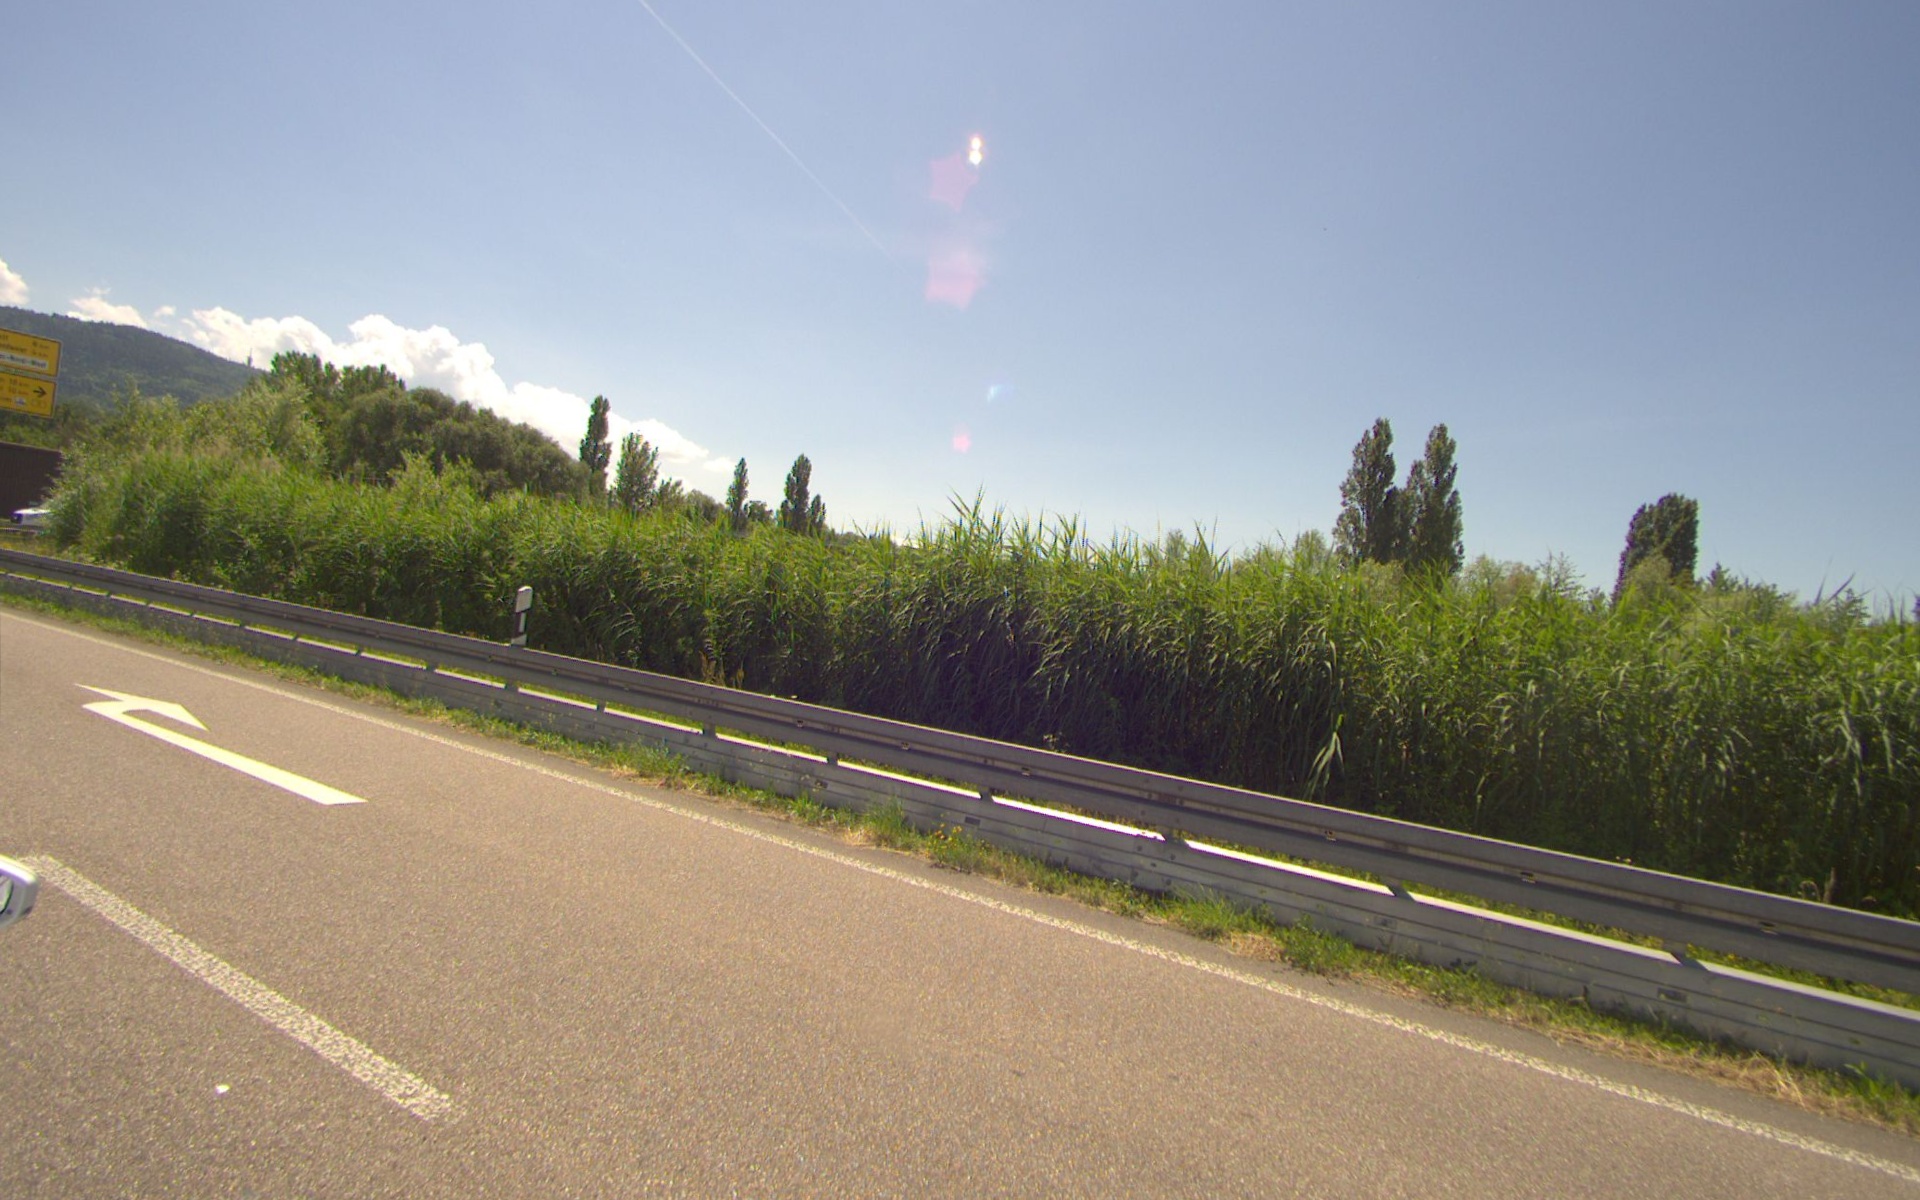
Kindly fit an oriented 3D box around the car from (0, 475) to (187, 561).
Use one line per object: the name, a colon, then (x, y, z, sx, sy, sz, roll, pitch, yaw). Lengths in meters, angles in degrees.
car: (-34.258, -3.164, 39.765, 2.005, 2.479, 5.356, 7, -1, 29)
